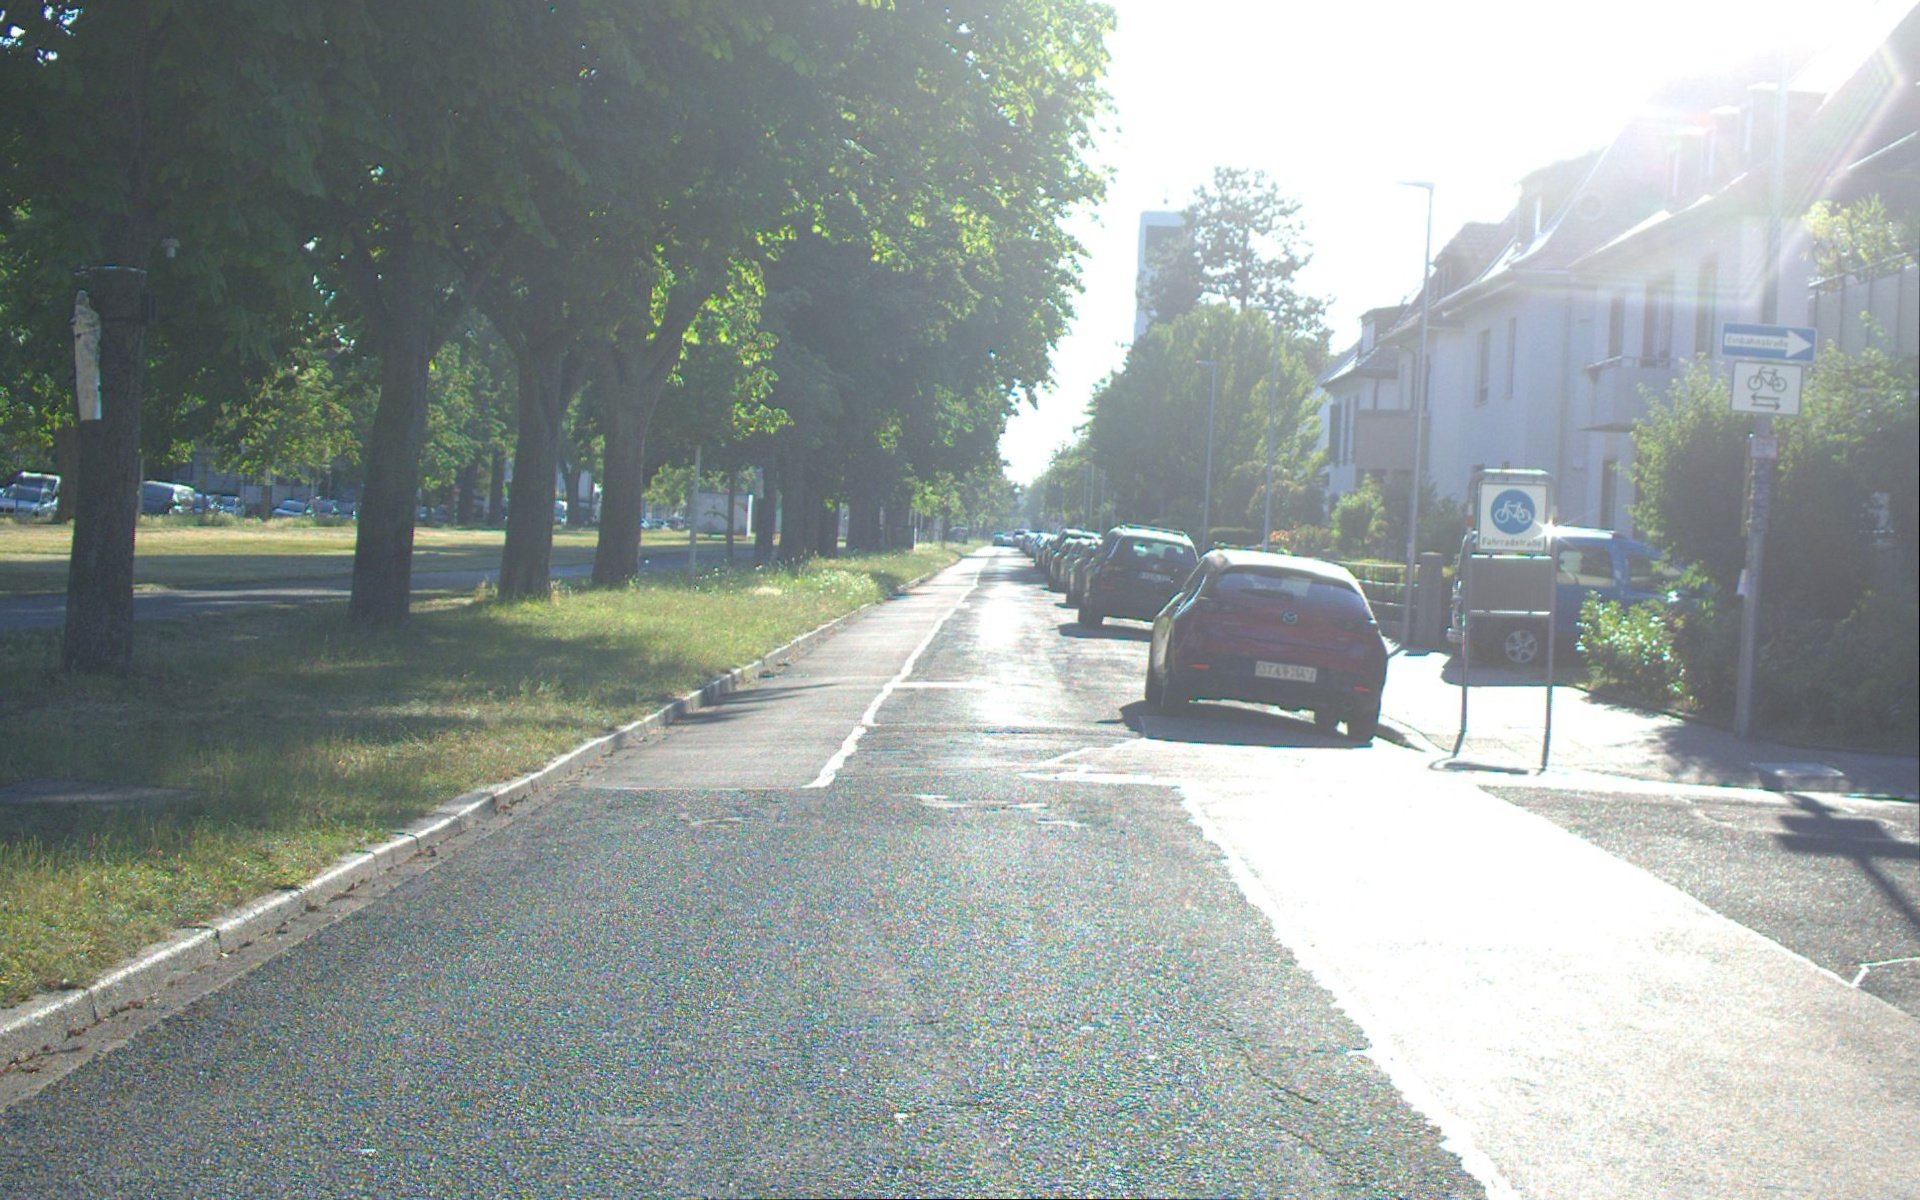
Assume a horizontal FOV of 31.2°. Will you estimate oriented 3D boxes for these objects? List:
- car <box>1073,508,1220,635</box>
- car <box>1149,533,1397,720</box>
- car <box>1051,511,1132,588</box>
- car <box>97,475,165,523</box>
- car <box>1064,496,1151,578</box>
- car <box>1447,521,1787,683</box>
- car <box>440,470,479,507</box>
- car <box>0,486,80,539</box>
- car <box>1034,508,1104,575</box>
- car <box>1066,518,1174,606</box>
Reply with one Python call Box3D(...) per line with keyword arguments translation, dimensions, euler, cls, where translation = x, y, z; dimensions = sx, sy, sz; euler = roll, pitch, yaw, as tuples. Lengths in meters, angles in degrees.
Box3D(translation=(2.970, -0.493, 55.569), dimensions=(1.993, 1.775, 4.000), euler=(5, 2, 0), cls="car")
Box3D(translation=(2.634, 0.192, 29.776), dimensions=(1.709, 1.355, 4.203), euler=(5, 1, 1), cls="car")
Box3D(translation=(3.776, -1.464, 99.212), dimensions=(1.993, 2.007, 4.000), euler=(5, 1, 0), cls="car")
Box3D(translation=(-33.900, -4.137, 140.665), dimensions=(1.728, 1.684, 3.879), euler=(5, 0, -1), cls="car")
Box3D(translation=(3.987, -1.699, 93.519), dimensions=(1.993, 2.007, 4.000), euler=(5, 1, 0), cls="car")
Box3D(translation=(8.526, 0.049, 44.800), dimensions=(3.986, 1.816, 1.760), euler=(3, -4, -3), cls="car")
Box3D(translation=(-30.177, -6.733, 207.300), dimensions=(1.654, 1.931, 3.567), euler=(5, 0, 0), cls="car")
Box3D(translation=(-32.611, -3.079, 121.027), dimensions=(2.023, 1.653, 3.984), euler=(5, 1, 1), cls="car")
Box3D(translation=(3.583, -1.931, 113.656), dimensions=(1.993, 2.007, 4.000), euler=(5, 1, 0), cls="car")
Box3D(translation=(3.401, -0.839, 73.684), dimensions=(1.993, 1.648, 4.000), euler=(5, 1, 0), cls="car")
